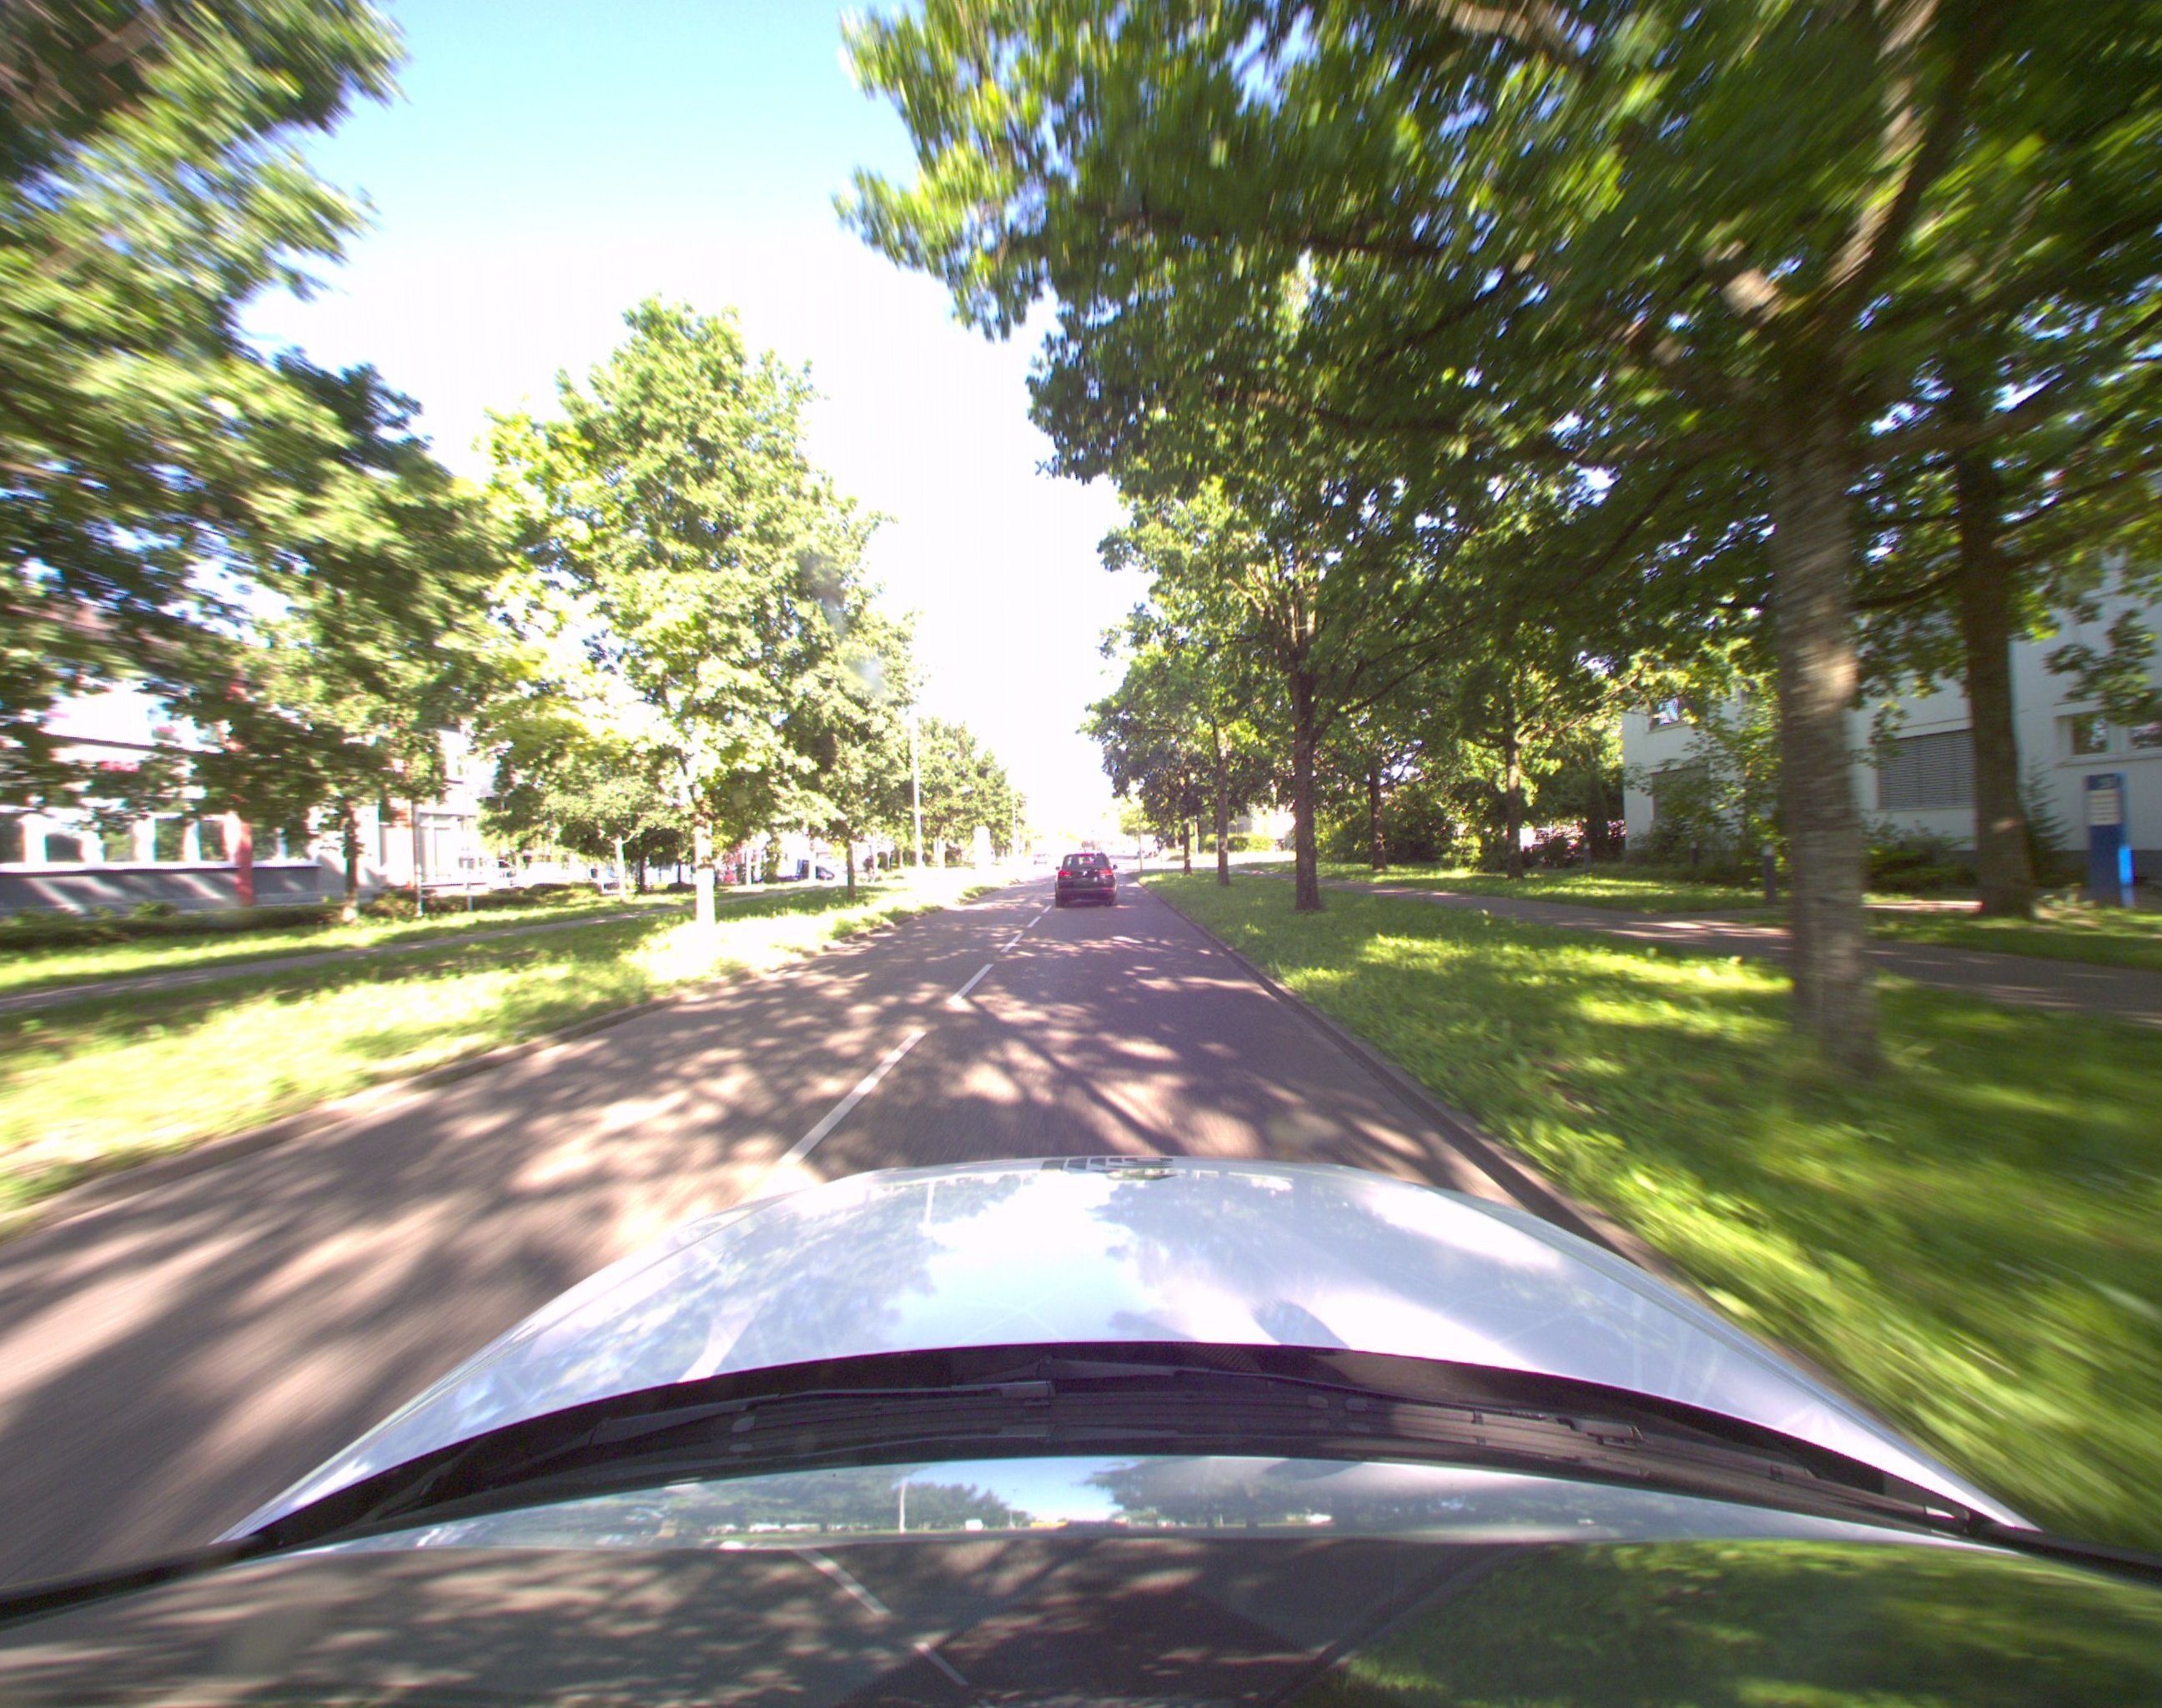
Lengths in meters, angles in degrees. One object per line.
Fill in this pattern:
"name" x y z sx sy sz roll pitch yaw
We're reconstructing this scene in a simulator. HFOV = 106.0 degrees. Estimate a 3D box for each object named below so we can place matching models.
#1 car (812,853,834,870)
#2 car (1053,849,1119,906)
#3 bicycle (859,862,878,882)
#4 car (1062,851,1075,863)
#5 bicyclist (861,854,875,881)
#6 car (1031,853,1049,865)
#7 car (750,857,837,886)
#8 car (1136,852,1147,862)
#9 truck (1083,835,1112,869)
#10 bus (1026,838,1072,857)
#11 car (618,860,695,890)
"car" -35.958 1.073 113.557 1.990 2.236 3.994 -2 0 -4
"car" 0.225 0.670 25.401 1.774 1.633 4.005 0 0 4
"bicycle" -14.140 1.177 54.277 0.714 1.321 1.992 0 0 1
"car" -2.203 0.470 140.949 1.989 2.013 3.995 0 0 -4
"bicyclist" -14.159 0.892 54.120 0.683 1.831 0.934 0 0 1
"car" -5.423 0.672 108.132 1.986 1.455 4.001 -2 0 1
"car" -21.247 1.295 60.363 5.787 2.013 1.994 0 0 -9
"car" 9.048 0.442 121.965 1.446 1.406 2.858 0 0 3
"truck" 1.760 -0.253 83.953 2.501 3.243 8.161 -2 0 4
"bus" -6.536 -1.308 165.547 9.096 3.778 3.378 0 0 -8
"car" -24.334 1.199 46.777 3.341 1.642 2.004 0 0 7
